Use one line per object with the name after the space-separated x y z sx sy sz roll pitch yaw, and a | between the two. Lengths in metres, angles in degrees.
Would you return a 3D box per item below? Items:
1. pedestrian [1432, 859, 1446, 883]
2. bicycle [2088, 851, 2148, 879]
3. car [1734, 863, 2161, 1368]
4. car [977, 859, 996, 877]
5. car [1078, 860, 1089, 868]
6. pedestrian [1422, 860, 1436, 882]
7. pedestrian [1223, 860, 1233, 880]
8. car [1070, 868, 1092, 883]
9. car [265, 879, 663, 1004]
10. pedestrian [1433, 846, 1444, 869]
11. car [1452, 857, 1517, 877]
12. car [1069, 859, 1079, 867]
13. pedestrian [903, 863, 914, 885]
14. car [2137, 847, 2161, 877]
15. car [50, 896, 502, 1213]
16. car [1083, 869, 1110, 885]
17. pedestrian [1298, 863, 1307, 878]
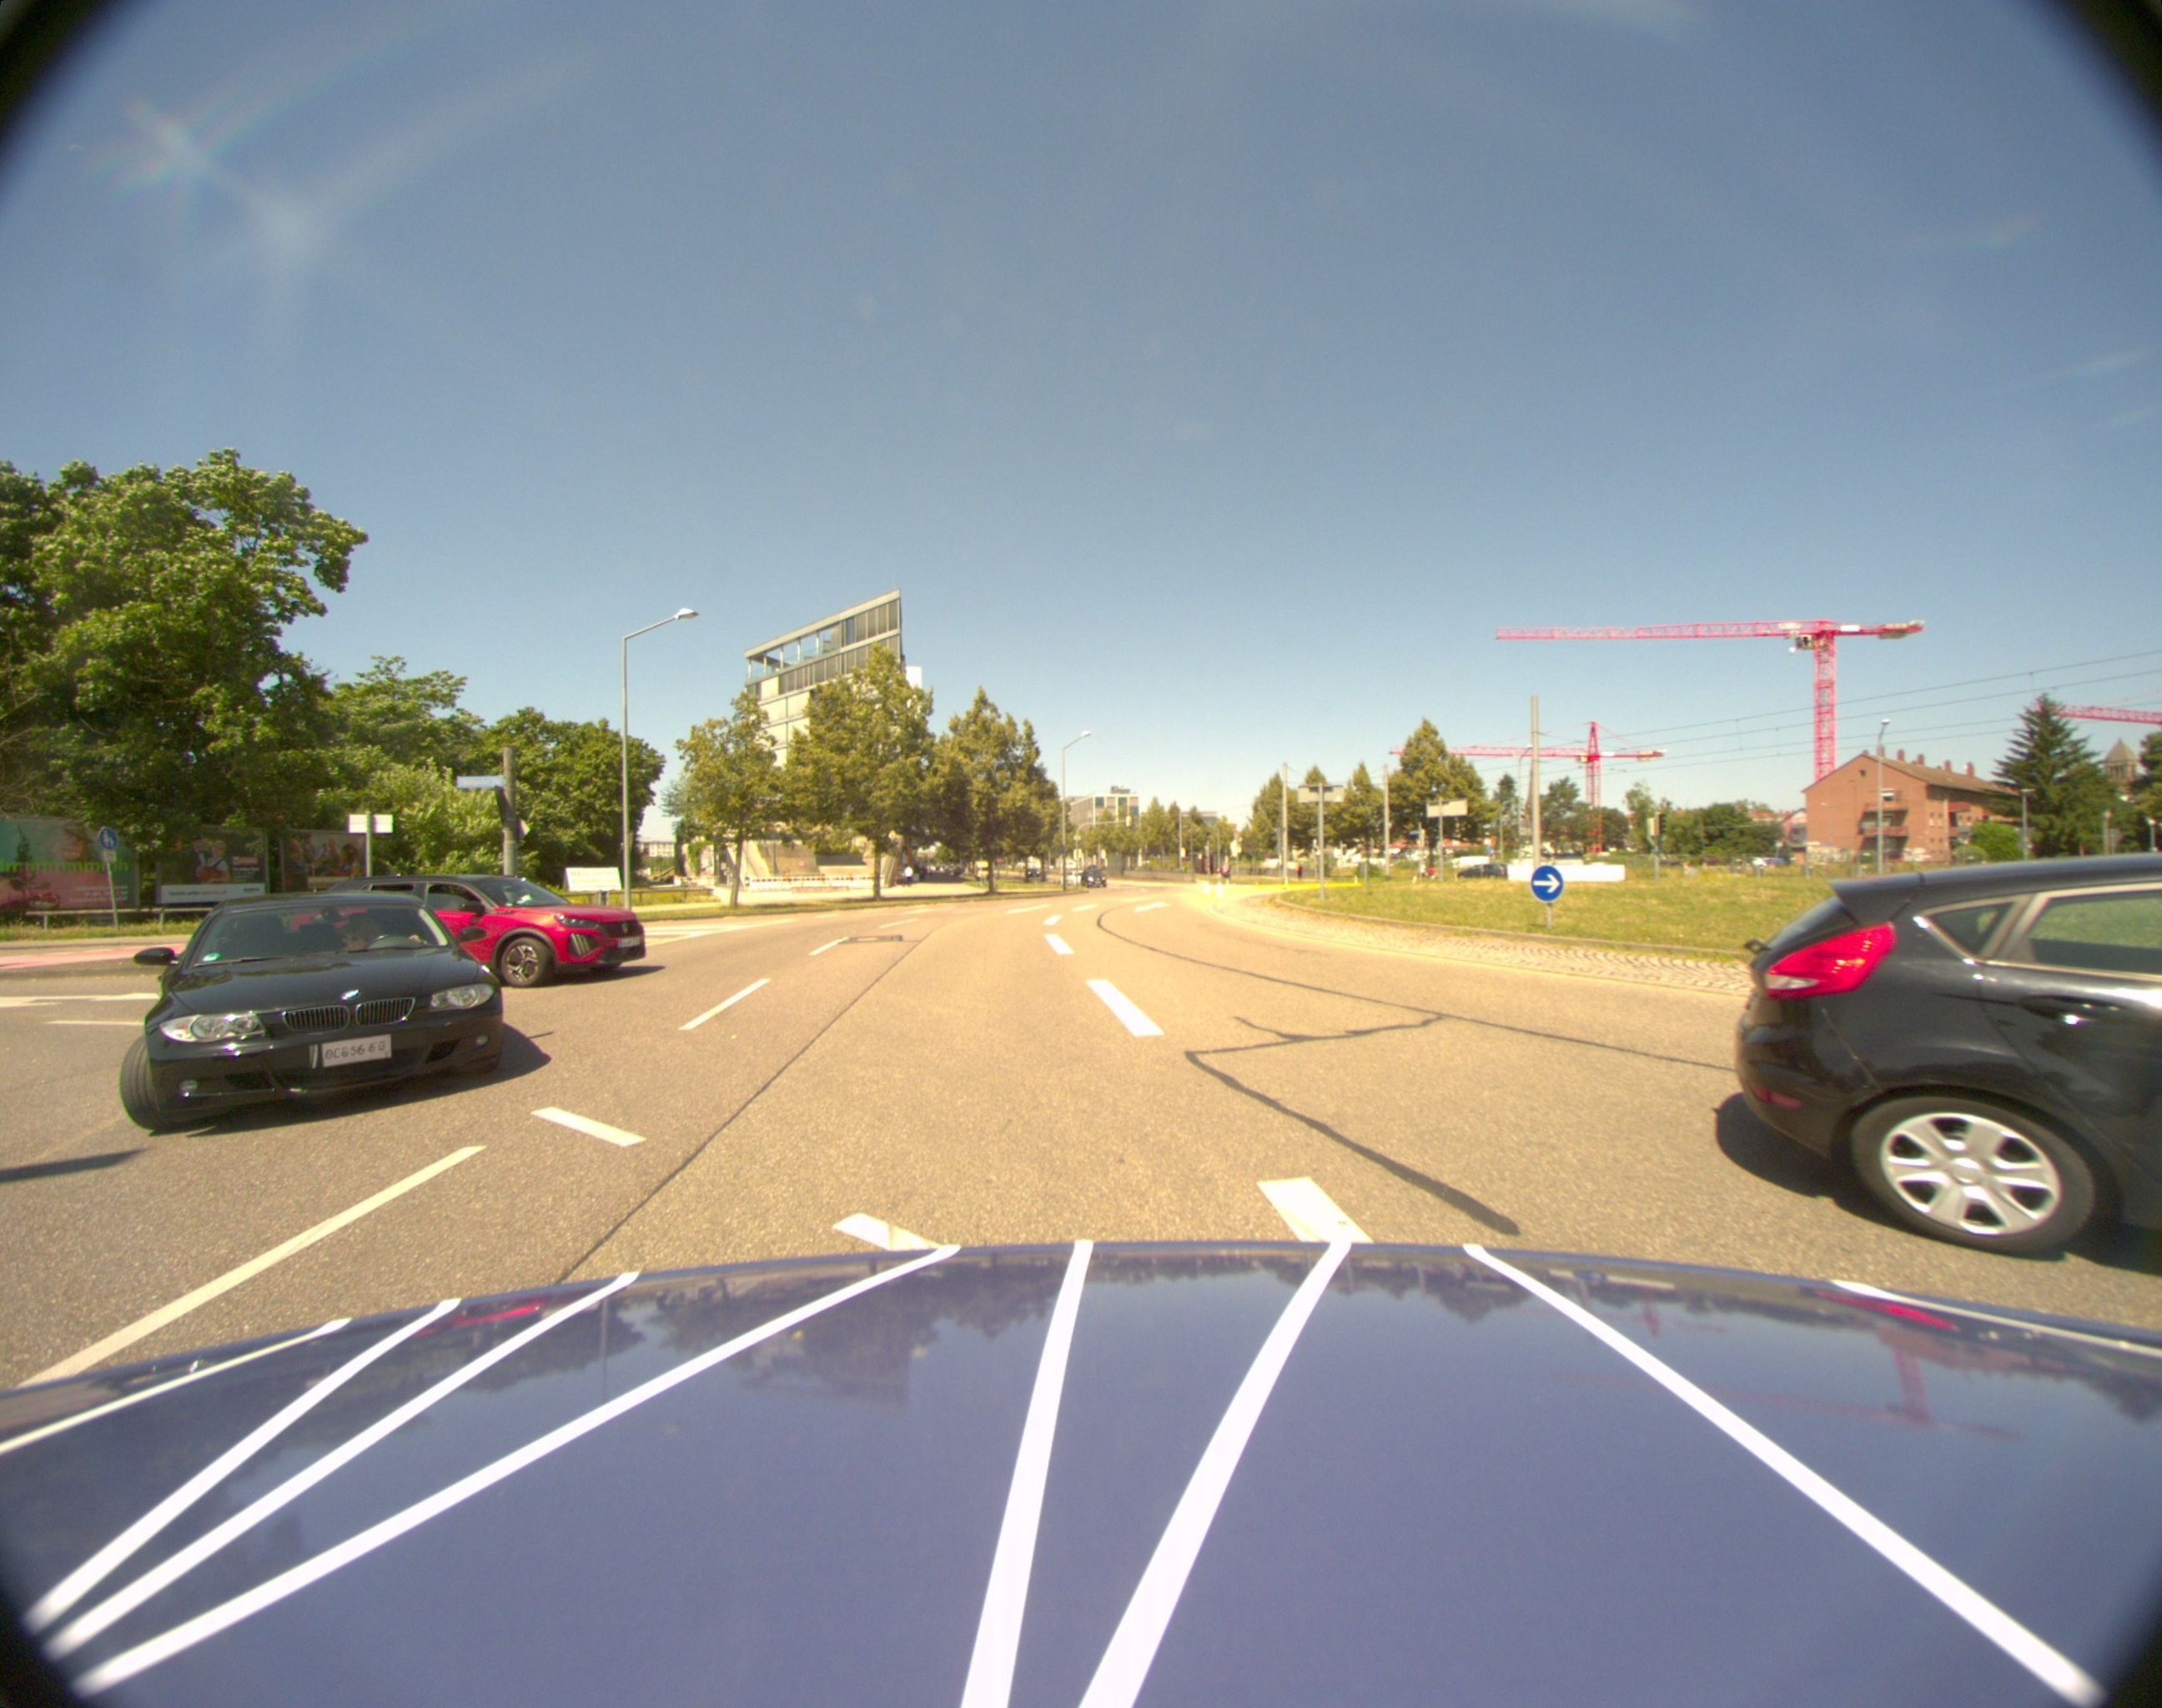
30.591 1.426 64.923 0.746 2.002 0.732 0 1 -1 | pedestrian
64.106 0.689 46.975 2.079 1.675 0.561 1 2 41 | bicycle
4.547 0.804 2.269 1.637 1.499 3.808 -3 1 -45 | car
-13.389 1.938 107.584 2.001 2.493 3.995 -1 0 -15 | car
0.665 2.624 194.811 2.001 2.002 3.896 0 1 -14 | car
29.698 1.452 64.914 0.814 1.888 0.732 0 1 -1 | pedestrian
12.455 1.329 64.404 0.760 1.630 0.781 0 1 0 | pedestrian
-0.030 1.992 71.464 1.577 1.218 3.319 0 1 -10 | car
-8.457 1.161 10.682 4.208 1.518 1.721 -1 0 2 | car
30.902 0.311 65.758 0.595 2.002 0.602 0 2 -13 | pedestrian
31.397 0.986 59.163 2.004 1.456 3.988 -1 1 -43 | car
-1.938 2.393 208.350 2.001 2.002 3.896 0 1 -14 | car
-14.737 1.742 64.886 0.834 1.858 0.611 0 2 1 | pedestrian
73.939 0.543 51.491 4.005 2.002 1.995 0 1 -25 | car
-6.012 1.138 5.930 3.989 1.432 1.806 -1 0 45 | car
1.329 1.988 66.104 1.741 1.205 3.562 0 1 -10 | car
19.919 1.471 68.217 0.597 1.398 0.543 -1 0 -3 | pedestrian
